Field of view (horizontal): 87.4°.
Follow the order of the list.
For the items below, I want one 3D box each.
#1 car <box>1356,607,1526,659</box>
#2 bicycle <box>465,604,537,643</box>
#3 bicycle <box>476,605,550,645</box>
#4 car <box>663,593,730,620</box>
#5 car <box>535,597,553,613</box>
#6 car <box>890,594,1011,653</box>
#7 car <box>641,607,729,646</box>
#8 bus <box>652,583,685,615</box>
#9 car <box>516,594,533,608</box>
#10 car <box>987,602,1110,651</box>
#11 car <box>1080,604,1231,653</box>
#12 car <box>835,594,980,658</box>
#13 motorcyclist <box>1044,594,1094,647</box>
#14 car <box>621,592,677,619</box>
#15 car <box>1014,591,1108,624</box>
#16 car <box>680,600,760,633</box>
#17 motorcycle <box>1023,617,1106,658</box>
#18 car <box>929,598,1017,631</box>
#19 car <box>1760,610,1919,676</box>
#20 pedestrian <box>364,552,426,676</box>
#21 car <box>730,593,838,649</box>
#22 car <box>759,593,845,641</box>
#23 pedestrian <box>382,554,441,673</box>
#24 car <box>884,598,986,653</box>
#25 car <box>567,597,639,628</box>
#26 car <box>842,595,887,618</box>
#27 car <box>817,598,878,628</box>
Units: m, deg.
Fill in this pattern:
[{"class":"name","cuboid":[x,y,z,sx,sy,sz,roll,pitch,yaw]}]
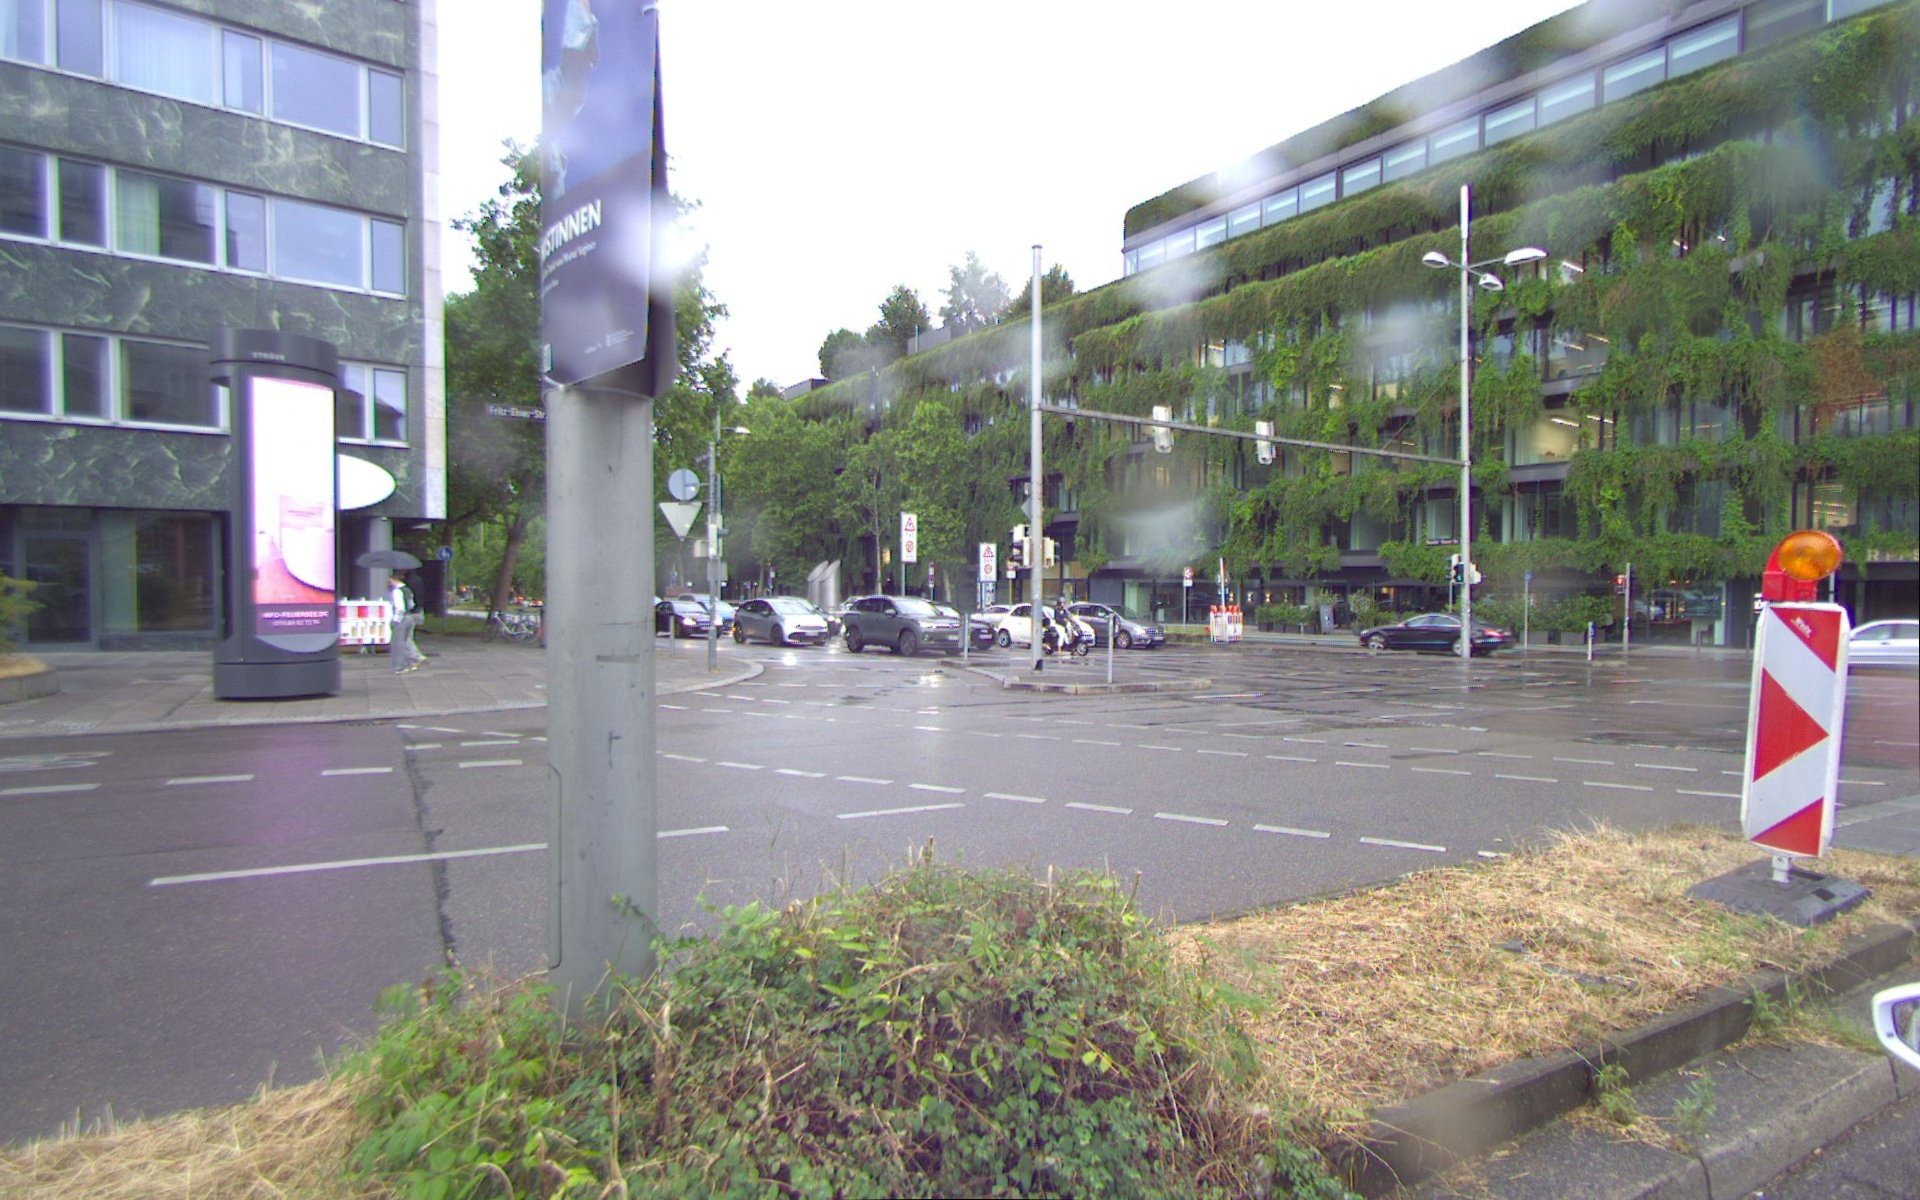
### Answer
[{"class":"car","cuboid":[16.164,1.099,33.943,1.987,1.496,4.799,3,-1,-44]},{"class":"bicycle","cuboid":[-12.970,0.663,28.407,1.765,1.066,0.581,1,0,-35]},{"class":"bicycle","cuboid":[-12.291,0.679,27.630,1.765,1.066,0.581,1,0,-35]},{"class":"car","cuboid":[-13.923,0.337,52.920,1.982,1.389,4.131,1,0,-37]},{"class":"car","cuboid":[-57.199,0.647,138.152,1.975,2.040,3.972,2,0,-27]},{"class":"car","cuboid":[-0.358,0.708,32.506,1.981,1.773,3.958,1,0,-37]},{"class":"car","cuboid":[-10.894,1.003,39.620,1.982,1.389,4.131,1,0,-37]},{"class":"bus","cuboid":[-32.015,-0.151,110.229,1.783,3.385,5.922,2,0,-34]},{"class":"car","cuboid":[-62.752,0.141,144.778,1.975,2.040,3.972,1,0,-27]},{"class":"car","cuboid":[2.879,0.855,33.461,1.981,1.495,3.958,1,0,-37]},{"class":"car","cuboid":[6.625,0.933,34.406,4.842,1.508,1.922,1,0,45]},{"class":"car","cuboid":[-1.590,0.701,29.145,1.984,1.709,4.314,1,0,-41]},{"class":"motorcyclist","cuboid":[3.140,0.580,28.989,1.153,1.492,0.832,2,0,40]},{"class":"car","cuboid":[-18.678,0.333,60.205,1.918,1.544,4.057,1,0,-38]},{"class":"car","cuboid":[5.065,0.369,50.688,1.799,1.532,4.636,2,0,-45]},{"class":"car","cuboid":[-10.767,0.696,44.941,1.982,1.389,4.131,1,0,-37]},{"class":"motorcycle","cuboid":[3.015,1.071,29.088,2.331,1.068,0.830,2,0,41]},{"class":"car","cuboid":[0.613,0.744,51.943,1.798,1.532,4.637,2,0,-44]},{"class":"car","cuboid":[23.808,1.092,25.967,1.986,1.497,4.673,-3,3,-43]},{"class":"pedestrian","cuboid":[-9.512,0.231,16.935,0.715,2.040,0.598,1,0,-10]},{"class":"car","cuboid":[-6.011,0.671,34.031,1.982,1.773,3.956,1,0,-38]},{"class":"car","cuboid":[-6.285,0.656,39.665,1.841,1.791,4.139,1,0,-32]},{"class":"pedestrian","cuboid":[-9.644,0.234,17.680,0.715,2.040,0.598,1,0,-10]},{"class":"car","cuboid":[-1.004,0.912,37.760,1.978,1.923,4.139,1,0,-33]},{"class":"car","cuboid":[-16.699,0.552,46.896,1.982,1.389,4.131,1,0,-37]},{"class":"car","cuboid":[-7.361,0.490,77.242,1.783,1.588,3.962,2,0,-34]},{"class":"car","cuboid":[-6.617,0.729,58.826,1.834,1.692,3.958,1,0,-37]}]
